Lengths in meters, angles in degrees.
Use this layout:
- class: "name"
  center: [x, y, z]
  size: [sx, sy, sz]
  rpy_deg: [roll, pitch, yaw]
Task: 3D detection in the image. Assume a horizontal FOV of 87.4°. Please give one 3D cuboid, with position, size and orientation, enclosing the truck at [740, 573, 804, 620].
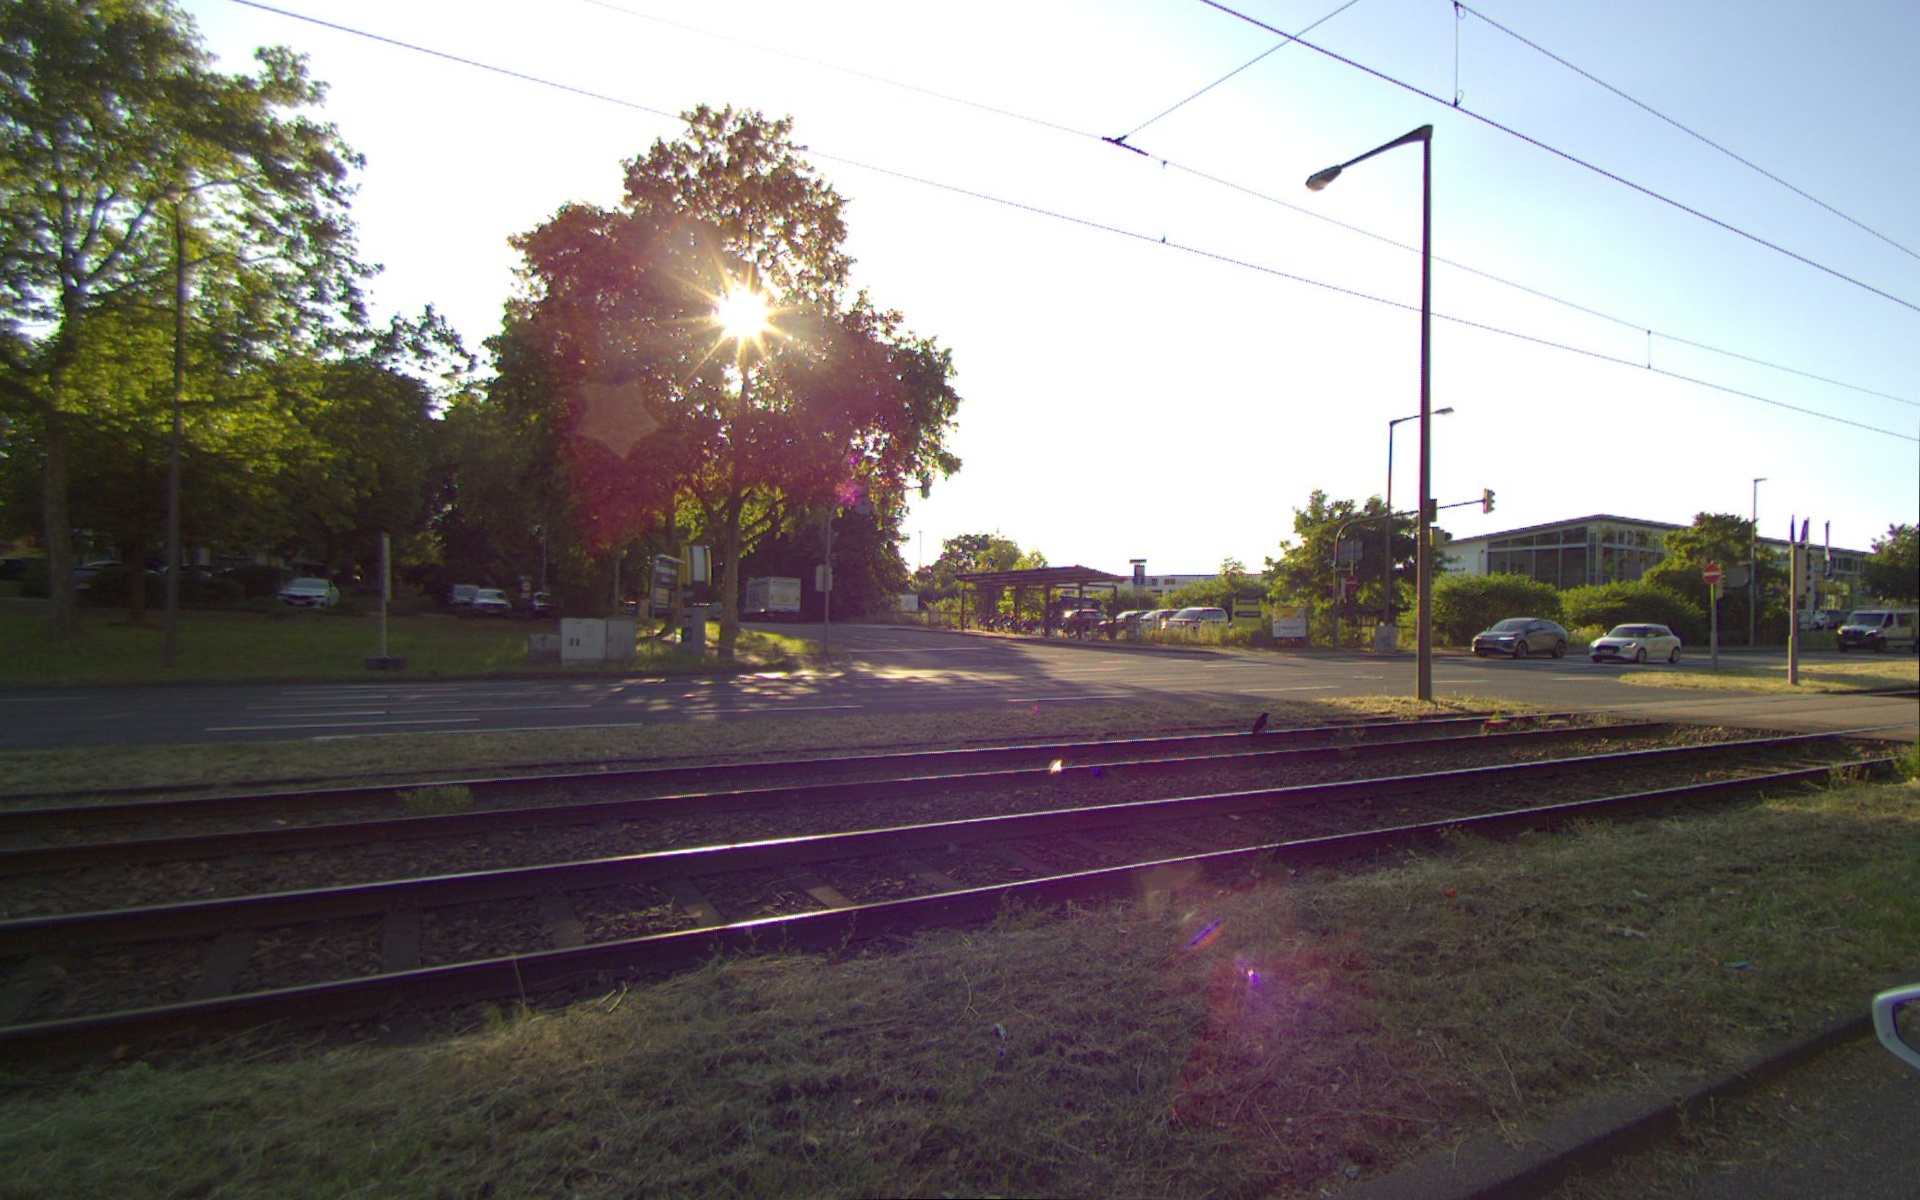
- class: "truck"
  center: [-15.047, -0.266, 79.788]
  size: [2.782, 3.520, 8.291]
  rpy_deg: [1, 0, -27]

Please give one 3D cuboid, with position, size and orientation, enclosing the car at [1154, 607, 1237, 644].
- class: "car"
  center: [12.363, 1.326, 52.737]
  size: [4.123, 1.846, 1.853]
  rpy_deg: [1, 0, -30]

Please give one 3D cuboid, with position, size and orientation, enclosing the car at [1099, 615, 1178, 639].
- class: "car"
  center: [9.940, 1.486, 55.869]
  size: [4.123, 1.284, 1.853]
  rpy_deg: [1, 0, -30]

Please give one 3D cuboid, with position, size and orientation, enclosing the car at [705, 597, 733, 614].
- class: "car"
  center: [-22.782, 0.507, 94.989]
  size: [1.711, 1.603, 4.028]
  rpy_deg: [1, 0, -27]

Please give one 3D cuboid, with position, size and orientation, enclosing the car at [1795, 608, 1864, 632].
- class: "car"
  center: [66.725, 1.490, 77.175]
  size: [3.940, 1.727, 1.735]
  rpy_deg: [1, 0, 40]

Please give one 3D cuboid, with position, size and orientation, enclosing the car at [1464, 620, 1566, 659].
- class: "car"
  center: [23.526, 1.642, 42.544]
  size: [4.120, 1.501, 1.854]
  rpy_deg: [1, 0, -29]

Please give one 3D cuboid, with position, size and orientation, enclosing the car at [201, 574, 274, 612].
- class: "car"
  center: [-32.112, -0.315, 44.754]
  size: [1.916, 1.530, 4.071]
  rpy_deg: [2, 0, -26]

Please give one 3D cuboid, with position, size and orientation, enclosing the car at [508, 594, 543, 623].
- class: "car"
  center: [-26.237, 0.509, 60.747]
  size: [1.836, 1.637, 4.036]
  rpy_deg: [2, 0, -23]

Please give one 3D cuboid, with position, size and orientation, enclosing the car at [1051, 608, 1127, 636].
- class: "car"
  center: [7.717, 1.291, 59.994]
  size: [4.123, 1.604, 1.968]
  rpy_deg: [1, 0, -30]

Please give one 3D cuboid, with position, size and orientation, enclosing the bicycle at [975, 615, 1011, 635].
- class: "bicycle"
  center: [1.929, 1.452, 59.049]
  size: [2.004, 1.119, 0.777]
  rpy_deg: [2, 0, -30]

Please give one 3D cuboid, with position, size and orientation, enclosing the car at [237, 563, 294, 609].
- class: "car"
  center: [-37.296, -0.744, 54.005]
  size: [2.138, 2.334, 4.369]
  rpy_deg: [2, 0, -31]

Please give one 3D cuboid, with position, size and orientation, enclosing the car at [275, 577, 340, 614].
- class: "car"
  center: [-29.431, -0.214, 45.436]
  size: [1.916, 1.530, 4.071]
  rpy_deg: [2, 0, -26]

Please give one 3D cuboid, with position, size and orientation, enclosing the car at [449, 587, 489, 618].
- class: "car"
  center: [-28.572, 0.132, 58.493]
  size: [1.836, 1.637, 4.036]
  rpy_deg: [2, 0, -23]

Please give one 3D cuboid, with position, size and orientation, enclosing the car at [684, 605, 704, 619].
- class: "car"
  center: [-33.238, 1.498, 125.374]
  size: [1.887, 1.602, 4.036]
  rpy_deg: [2, 0, -21]

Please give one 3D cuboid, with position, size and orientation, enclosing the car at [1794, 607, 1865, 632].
- class: "car"
  center: [65.179, 1.440, 75.375]
  size: [3.940, 1.727, 1.735]
  rpy_deg: [1, 0, 40]

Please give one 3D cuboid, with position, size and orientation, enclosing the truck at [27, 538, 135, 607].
- class: "truck"
  center: [-44.512, -1.334, 51.062]
  size: [2.468, 3.209, 6.187]
  rpy_deg: [2, 0, -26]

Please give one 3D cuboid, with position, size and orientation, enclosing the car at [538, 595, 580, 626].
- class: "car"
  center: [-20.439, 0.527, 51.137]
  size: [1.604, 1.477, 3.878]
  rpy_deg: [2, 0, -27]

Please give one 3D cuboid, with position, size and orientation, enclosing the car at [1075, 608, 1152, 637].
- class: "car"
  center: [8.821, 1.284, 57.800]
  size: [4.123, 1.604, 1.853]
  rpy_deg: [1, 0, -30]

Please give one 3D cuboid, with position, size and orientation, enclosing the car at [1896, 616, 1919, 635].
- class: "car"
  center: [88.381, 2.383, 91.748]
  size: [1.725, 1.642, 3.962]
  rpy_deg: [1, 0, -34]

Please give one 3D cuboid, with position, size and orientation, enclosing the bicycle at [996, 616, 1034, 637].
- class: "bicycle"
  center: [3.070, 1.475, 56.413]
  size: [2.004, 1.119, 0.777]
  rpy_deg: [2, 0, -30]

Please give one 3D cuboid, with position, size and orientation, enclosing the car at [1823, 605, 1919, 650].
- class: "car"
  center: [53.043, 1.606, 58.274]
  size: [5.767, 2.494, 2.091]
  rpy_deg: [1, 0, -22]

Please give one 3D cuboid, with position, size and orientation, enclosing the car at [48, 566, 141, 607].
- class: "car"
  center: [-36.086, -0.550, 42.018]
  size: [1.916, 1.530, 4.071]
  rpy_deg: [2, 0, -26]

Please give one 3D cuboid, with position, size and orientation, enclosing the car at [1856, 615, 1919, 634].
- class: "car"
  center: [81.765, 2.150, 88.516]
  size: [1.728, 1.576, 3.957]
  rpy_deg: [1, 0, -37]

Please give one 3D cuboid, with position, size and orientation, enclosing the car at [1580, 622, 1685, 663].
- class: "car"
  center: [26.402, 1.636, 39.429]
  size: [4.043, 1.501, 1.853]
  rpy_deg: [1, 0, -30]

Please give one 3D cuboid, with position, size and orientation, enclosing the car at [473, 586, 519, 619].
- class: "car"
  center: [-22.934, 0.115, 49.587]
  size: [1.916, 1.530, 4.071]
  rpy_deg: [2, 0, -26]

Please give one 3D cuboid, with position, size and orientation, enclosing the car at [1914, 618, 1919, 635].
- class: "car"
  center: [91.297, 2.499, 93.028]
  size: [1.725, 1.642, 3.962]
  rpy_deg: [1, 0, -34]

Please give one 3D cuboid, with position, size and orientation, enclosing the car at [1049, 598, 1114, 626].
- class: "car"
  center: [9.287, 0.936, 76.665]
  size: [4.715, 2.041, 1.853]
  rpy_deg: [1, 0, -30]

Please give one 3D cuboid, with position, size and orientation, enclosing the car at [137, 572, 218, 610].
- class: "car"
  center: [-33.954, -0.388, 43.682]
  size: [1.916, 1.530, 4.071]
  rpy_deg: [2, 0, -26]

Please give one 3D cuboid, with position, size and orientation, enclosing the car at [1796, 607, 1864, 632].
- class: "car"
  center: [68.363, 1.488, 78.987]
  size: [3.940, 1.840, 1.735]
  rpy_deg: [1, 0, 40]

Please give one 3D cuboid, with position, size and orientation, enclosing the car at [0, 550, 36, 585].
- class: "car"
  center: [-53.859, -1.874, 56.378]
  size: [2.274, 1.875, 5.220]
  rpy_deg: [2, 0, -36]
